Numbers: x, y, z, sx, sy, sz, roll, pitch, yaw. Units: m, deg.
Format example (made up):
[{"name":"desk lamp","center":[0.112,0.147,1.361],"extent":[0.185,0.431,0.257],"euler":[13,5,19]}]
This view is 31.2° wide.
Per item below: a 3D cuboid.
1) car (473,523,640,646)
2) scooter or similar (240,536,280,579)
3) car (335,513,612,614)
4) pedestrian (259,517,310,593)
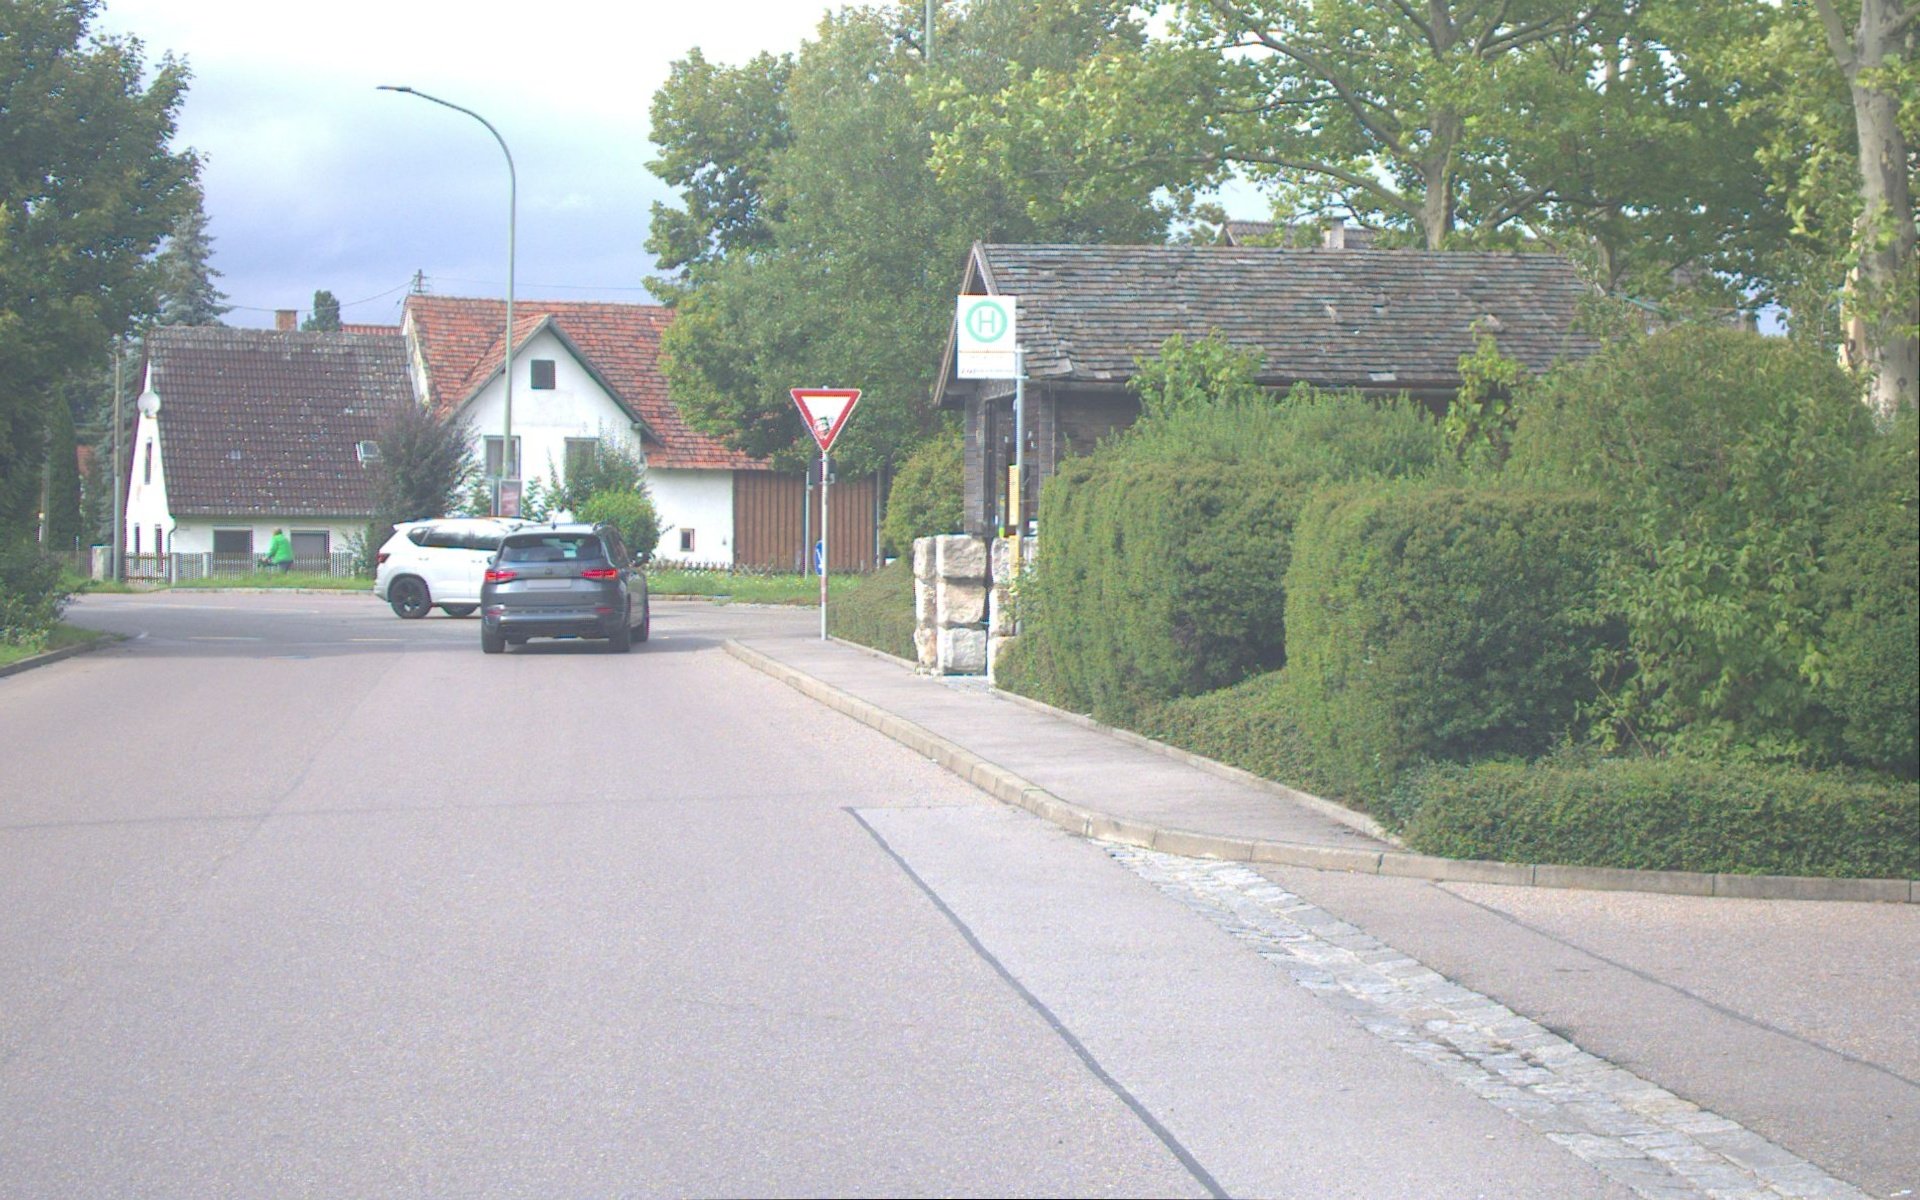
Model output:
[{"name":"car","center":[-4.990,-0.220,42.901],"extent":[1.798,1.457,3.662],"euler":[0,1,-2]},{"name":"scooter or similar","center":[-16.172,-0.986,79.443],"extent":[0.631,0.945,0.622],"euler":[5,-2,-39]},{"name":"car","center":[-7.746,-0.592,54.768],"extent":[3.981,1.510,1.802],"euler":[1,1,21]},{"name":"pedestrian","center":[-15.516,-1.036,79.011],"extent":[0.789,1.659,0.712],"euler":[5,-2,-39]}]
